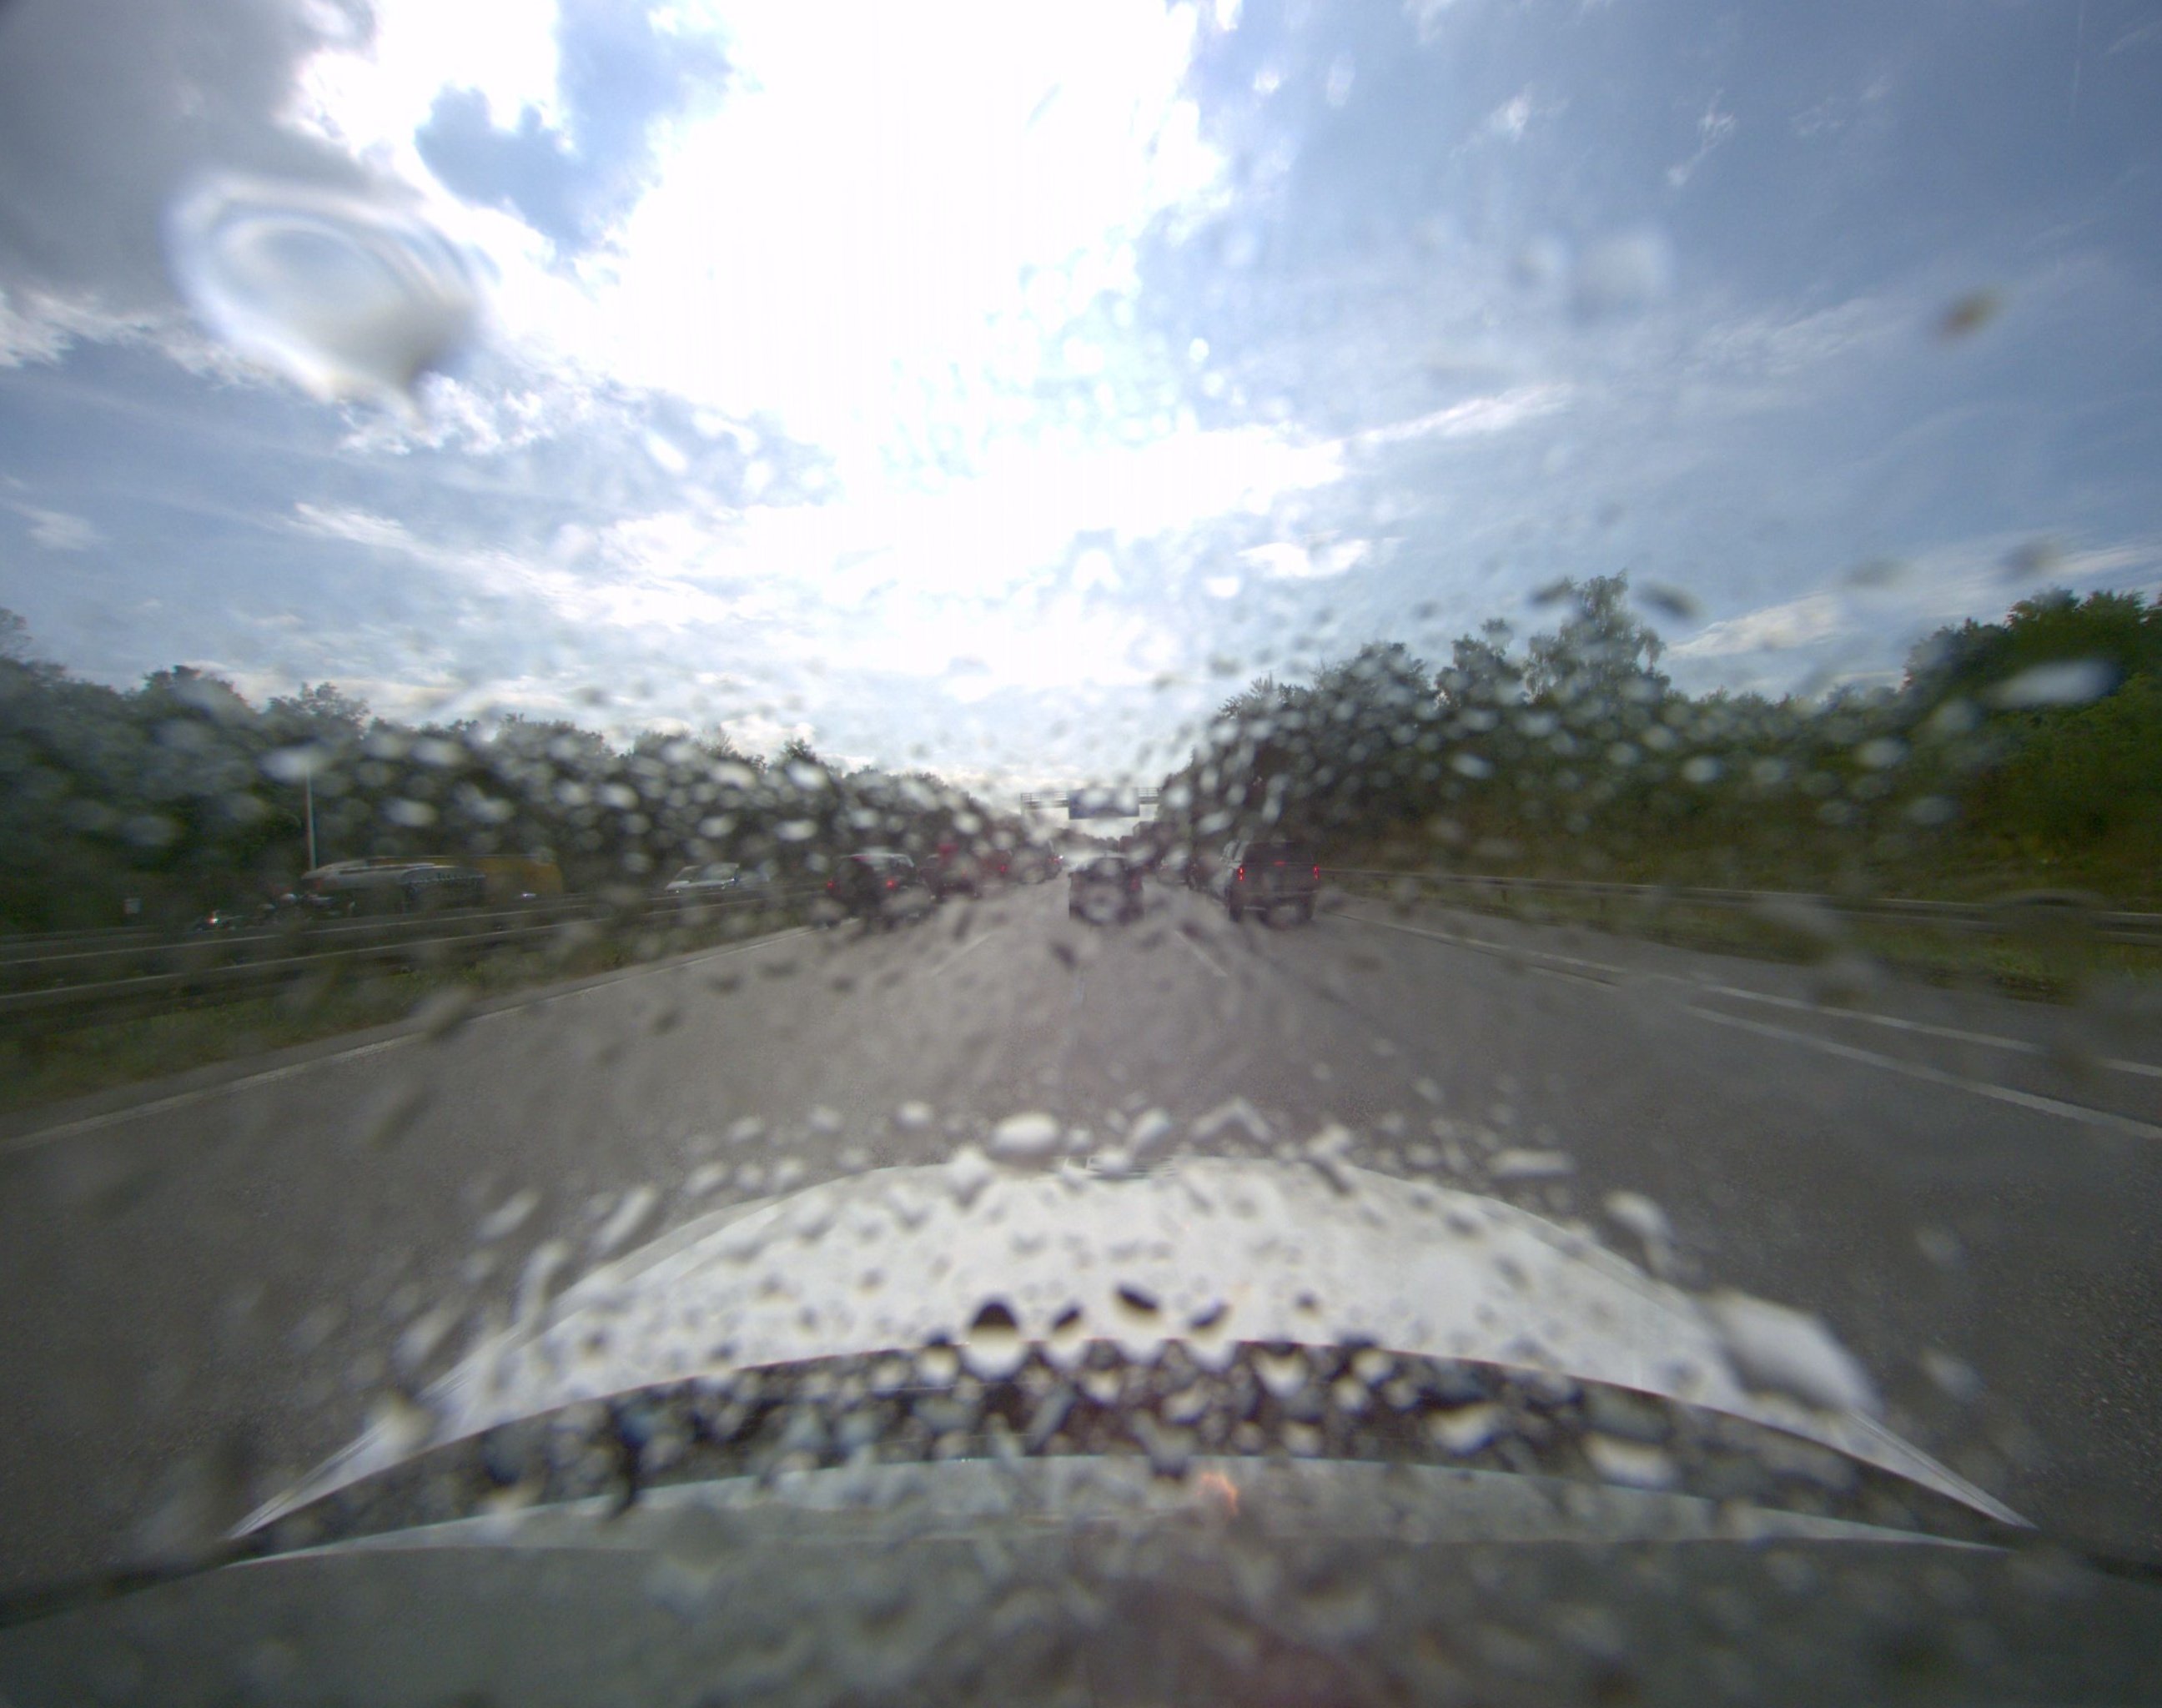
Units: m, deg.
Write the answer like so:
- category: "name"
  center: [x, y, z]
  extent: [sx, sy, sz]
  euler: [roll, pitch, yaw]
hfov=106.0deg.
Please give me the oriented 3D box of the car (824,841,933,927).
- category: "car"
  center: [-4.669, 0.653, 19.322]
  extent: [1.688, 1.805, 3.973]
  euler: [-1, -1, -2]

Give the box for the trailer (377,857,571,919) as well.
- category: "trailer"
  center: [-44.469, 2.351, 60.534]
  extent: [3.760, 4.117, 11.771]
  euler: [-1, -1, 15]

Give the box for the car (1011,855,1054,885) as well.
- category: "car"
  center: [-2.710, 0.898, 46.573]
  extent: [1.986, 1.565, 4.758]
  euler: [-1, -1, 2]

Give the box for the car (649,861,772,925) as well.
- category: "car"
  center: [-12.872, 1.288, 28.683]
  extent: [2.166, 2.046, 4.652]
  euler: [-1, -1, 1]

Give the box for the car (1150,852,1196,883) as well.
- category: "car"
  center: [4.659, 0.677, 41.757]
  extent: [1.859, 1.516, 3.974]
  euler: [-1, -1, -1]

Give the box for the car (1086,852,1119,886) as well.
- category: "car"
  center: [1.147, 0.817, 45.487]
  extent: [1.687, 1.805, 3.974]
  euler: [-1, -1, -1]

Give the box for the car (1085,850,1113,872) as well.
- category: "car"
  center: [1.228, 0.519, 57.836]
  extent: [1.859, 1.516, 3.974]
  euler: [-1, -1, -1]

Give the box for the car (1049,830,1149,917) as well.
- category: "car"
  center: [0.417, 0.465, 20.982]
  extent: [2.267, 1.954, 4.820]
  euler: [-1, -1, 0]

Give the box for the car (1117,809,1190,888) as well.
- category: "car"
  center: [5.718, -0.310, 68.665]
  extent: [4.391, 5.830, 16.810]
  euler: [-1, -1, -1]

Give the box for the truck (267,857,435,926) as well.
- category: "truck"
  center: [-46.632, 2.290, 52.349]
  extent: [3.760, 4.117, 7.073]
  euler: [-1, -1, 14]

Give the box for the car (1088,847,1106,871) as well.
- category: "car"
  center: [1.966, 0.617, 97.304]
  extent: [1.986, 2.746, 5.261]
  euler: [-1, -1, 2]

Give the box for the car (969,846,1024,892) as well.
- category: "car"
  center: [-4.019, 0.707, 39.302]
  extent: [1.971, 2.054, 4.758]
  euler: [-1, -1, 2]

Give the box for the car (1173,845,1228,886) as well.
- category: "car"
  center: [4.785, 0.461, 33.065]
  extent: [1.586, 1.516, 3.974]
  euler: [-1, -1, -1]

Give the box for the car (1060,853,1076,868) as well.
- category: "car"
  center: [-1.798, 0.932, 116.525]
  extent: [1.986, 2.115, 4.890]
  euler: [-1, -1, 2]

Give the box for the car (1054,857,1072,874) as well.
- category: "car"
  center: [-2.260, 1.490, 104.667]
  extent: [1.986, 2.115, 4.890]
  euler: [-1, -1, 2]

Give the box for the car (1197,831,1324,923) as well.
- category: "car"
  center: [4.204, 0.512, 20.059]
  extent: [1.935, 1.919, 5.652]
  euler: [-1, -1, 1]

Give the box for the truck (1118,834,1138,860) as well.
- category: "truck"
  center: [6.688, -0.933, 117.012]
  extent: [2.765, 3.632, 5.919]
  euler: [-1, -1, 2]

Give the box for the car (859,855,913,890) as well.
- category: "car"
  center: [-12.131, 1.131, 51.061]
  extent: [2.044, 2.046, 5.209]
  euler: [-1, -1, 1]

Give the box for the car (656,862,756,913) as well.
- category: "car"
  center: [-16.245, 1.399, 35.594]
  extent: [2.166, 2.046, 4.652]
  euler: [-1, -1, 1]

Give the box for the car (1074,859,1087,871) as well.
- category: "car"
  center: [-0.072, 1.905, 139.833]
  extent: [1.986, 2.115, 4.890]
  euler: [-1, -1, 2]

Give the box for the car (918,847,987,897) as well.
- category: "car"
  center: [-4.603, 0.619, 29.780]
  extent: [1.904, 1.636, 4.613]
  euler: [-2, -1, -2]

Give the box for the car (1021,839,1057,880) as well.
- category: "car"
  center: [-2.817, 0.382, 55.661]
  extent: [1.986, 2.615, 5.261]
  euler: [-1, -1, 2]

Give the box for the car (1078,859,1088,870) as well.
- category: "car"
  center: [0.417, 2.127, 165.575]
  extent: [1.986, 2.115, 4.890]
  euler: [-1, -1, 2]

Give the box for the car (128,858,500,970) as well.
- category: "car"
  center: [-16.578, 1.147, 18.398]
  extent: [2.166, 2.046, 6.500]
  euler: [-1, -1, 1]

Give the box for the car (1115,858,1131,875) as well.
- category: "car"
  center: [5.312, 1.553, 104.002]
  extent: [1.986, 2.115, 4.890]
  euler: [-1, -1, 2]
